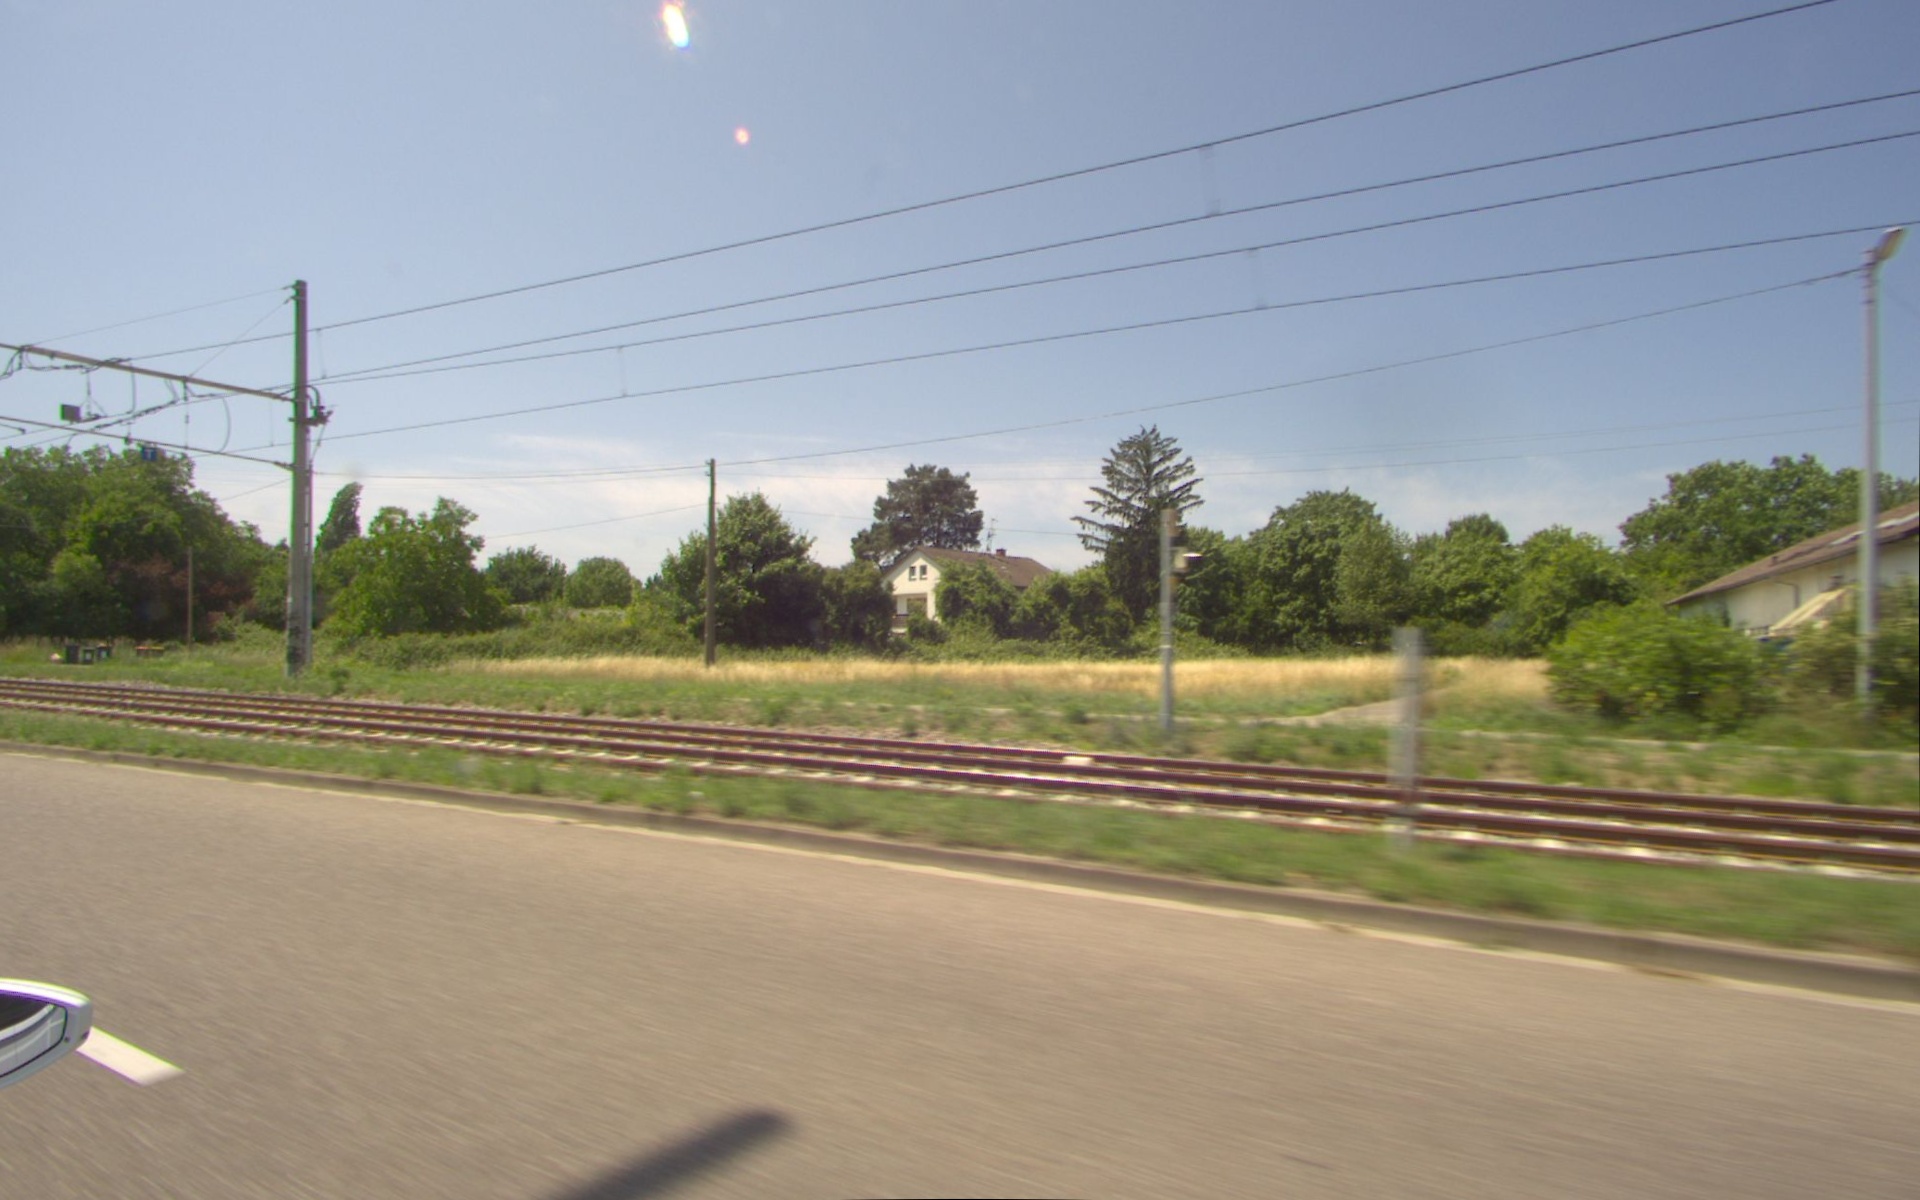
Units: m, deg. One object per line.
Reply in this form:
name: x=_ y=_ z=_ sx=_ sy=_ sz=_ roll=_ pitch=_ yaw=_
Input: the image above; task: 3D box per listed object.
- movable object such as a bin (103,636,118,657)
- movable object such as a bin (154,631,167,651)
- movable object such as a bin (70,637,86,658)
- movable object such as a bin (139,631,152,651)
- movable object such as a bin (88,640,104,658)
movable object such as a bin: x=-43.976 y=2.410 z=51.826 sx=0.494 sy=1.063 sz=0.522 roll=-1 pitch=-2 yaw=42
movable object such as a bin: x=-42.464 y=2.166 z=53.192 sx=0.494 sy=1.063 sz=0.446 roll=-1 pitch=-2 yaw=43
movable object such as a bin: x=-44.852 y=2.411 z=50.939 sx=0.494 sy=1.063 sz=0.522 roll=-1 pitch=-2 yaw=42
movable object such as a bin: x=-42.917 y=2.160 z=52.751 sx=0.494 sy=1.063 sz=0.446 roll=-1 pitch=-2 yaw=43
movable object such as a bin: x=-44.394 y=2.517 z=51.441 sx=0.494 sy=0.875 sz=0.522 roll=-1 pitch=-2 yaw=42
